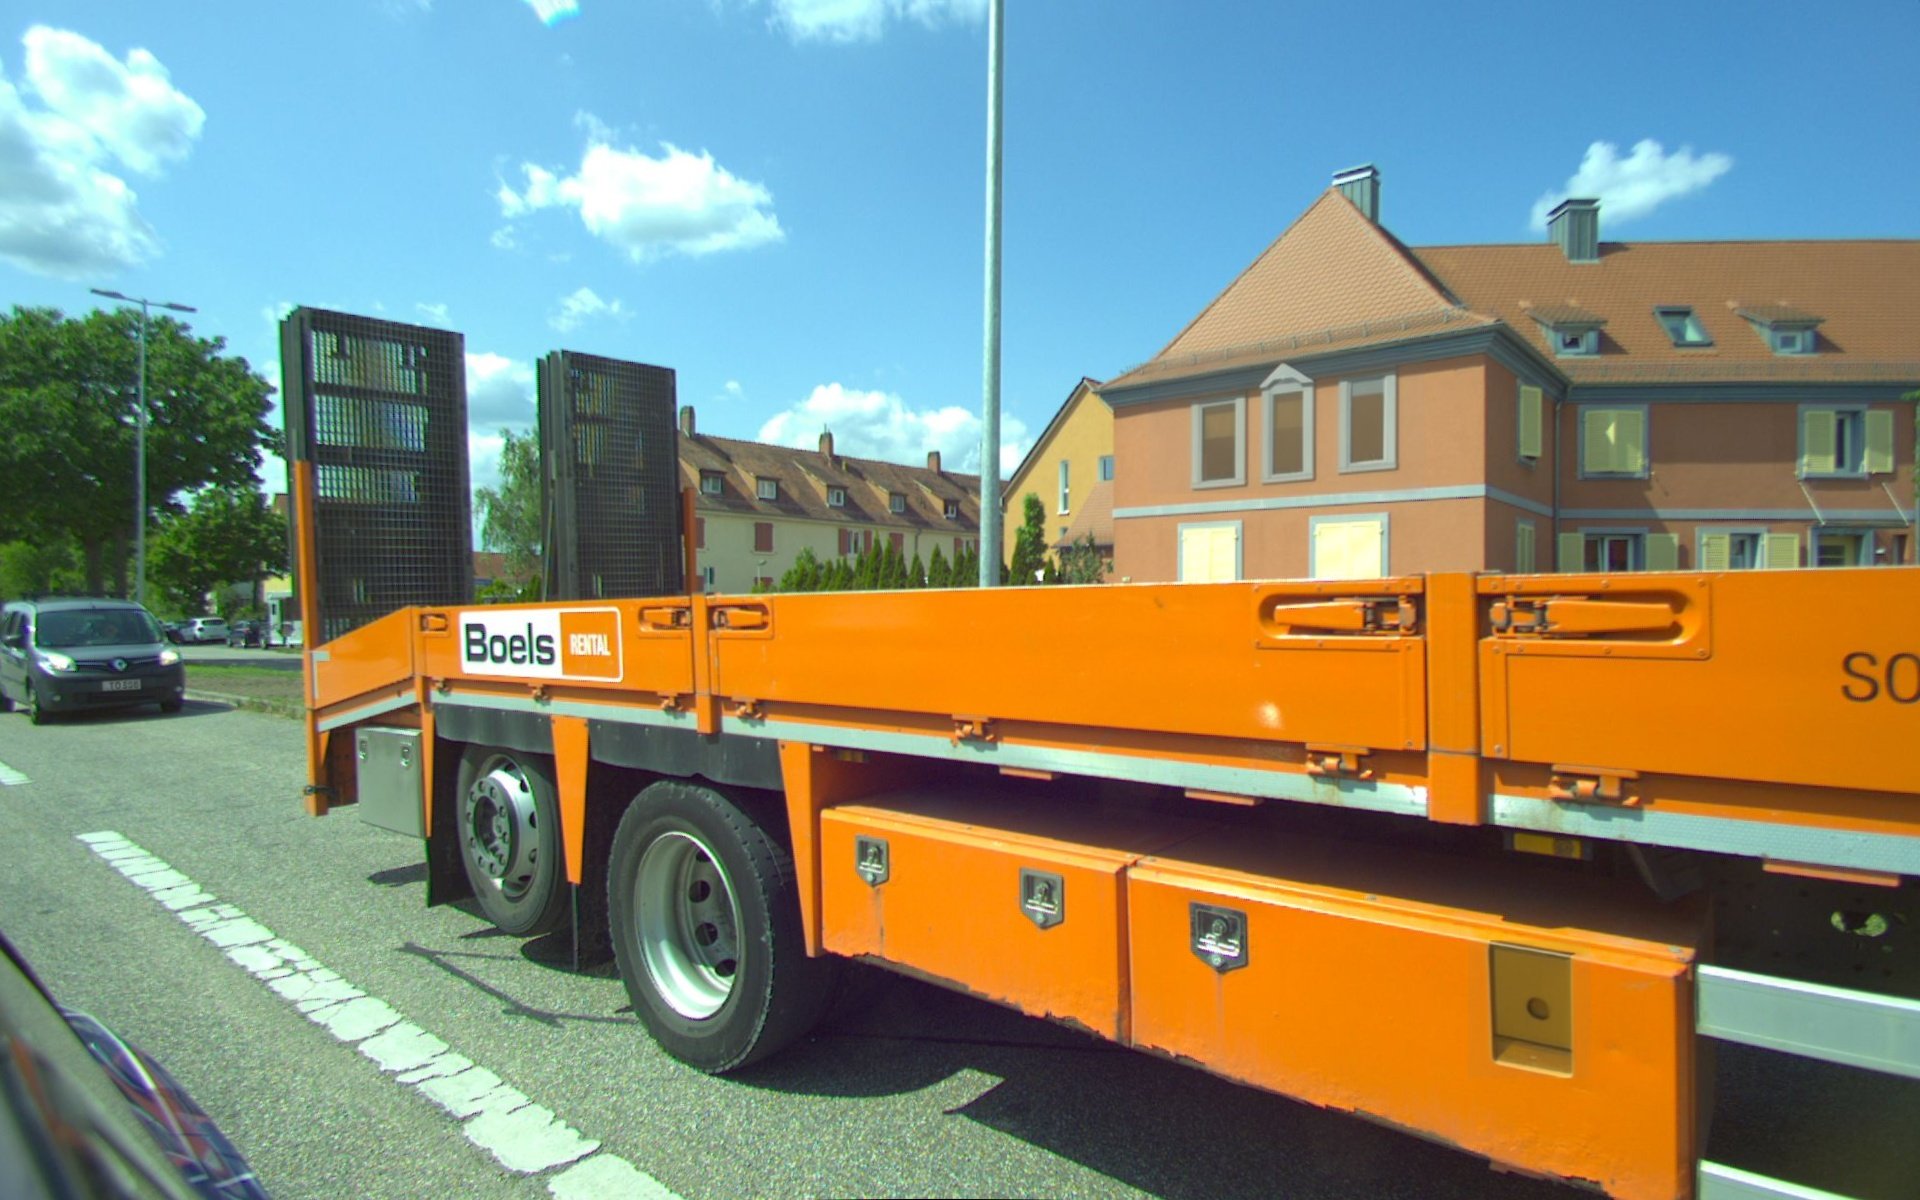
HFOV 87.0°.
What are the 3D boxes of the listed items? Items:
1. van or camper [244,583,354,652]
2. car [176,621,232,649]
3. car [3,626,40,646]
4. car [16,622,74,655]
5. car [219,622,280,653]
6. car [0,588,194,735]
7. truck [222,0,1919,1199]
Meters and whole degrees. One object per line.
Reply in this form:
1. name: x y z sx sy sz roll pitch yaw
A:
1. van or camper: -32.425 0.879 49.523 7.311 3.135 2.237 -2 1 39
2. car: -44.294 2.016 59.255 4.120 1.496 1.672 0 2 40
3. car: -83.656 3.210 90.152 4.307 1.624 1.645 0 2 37
4. car: -49.784 2.047 55.045 3.997 1.702 1.776 -1 -1 40
5. car: -37.754 1.959 53.729 3.989 1.496 1.620 0 2 40
6. car: -13.549 0.814 15.584 4.537 1.918 1.746 0 2 39
7. truck: 1.120 -0.576 3.142 11.062 3.439 3.039 0 2 41
